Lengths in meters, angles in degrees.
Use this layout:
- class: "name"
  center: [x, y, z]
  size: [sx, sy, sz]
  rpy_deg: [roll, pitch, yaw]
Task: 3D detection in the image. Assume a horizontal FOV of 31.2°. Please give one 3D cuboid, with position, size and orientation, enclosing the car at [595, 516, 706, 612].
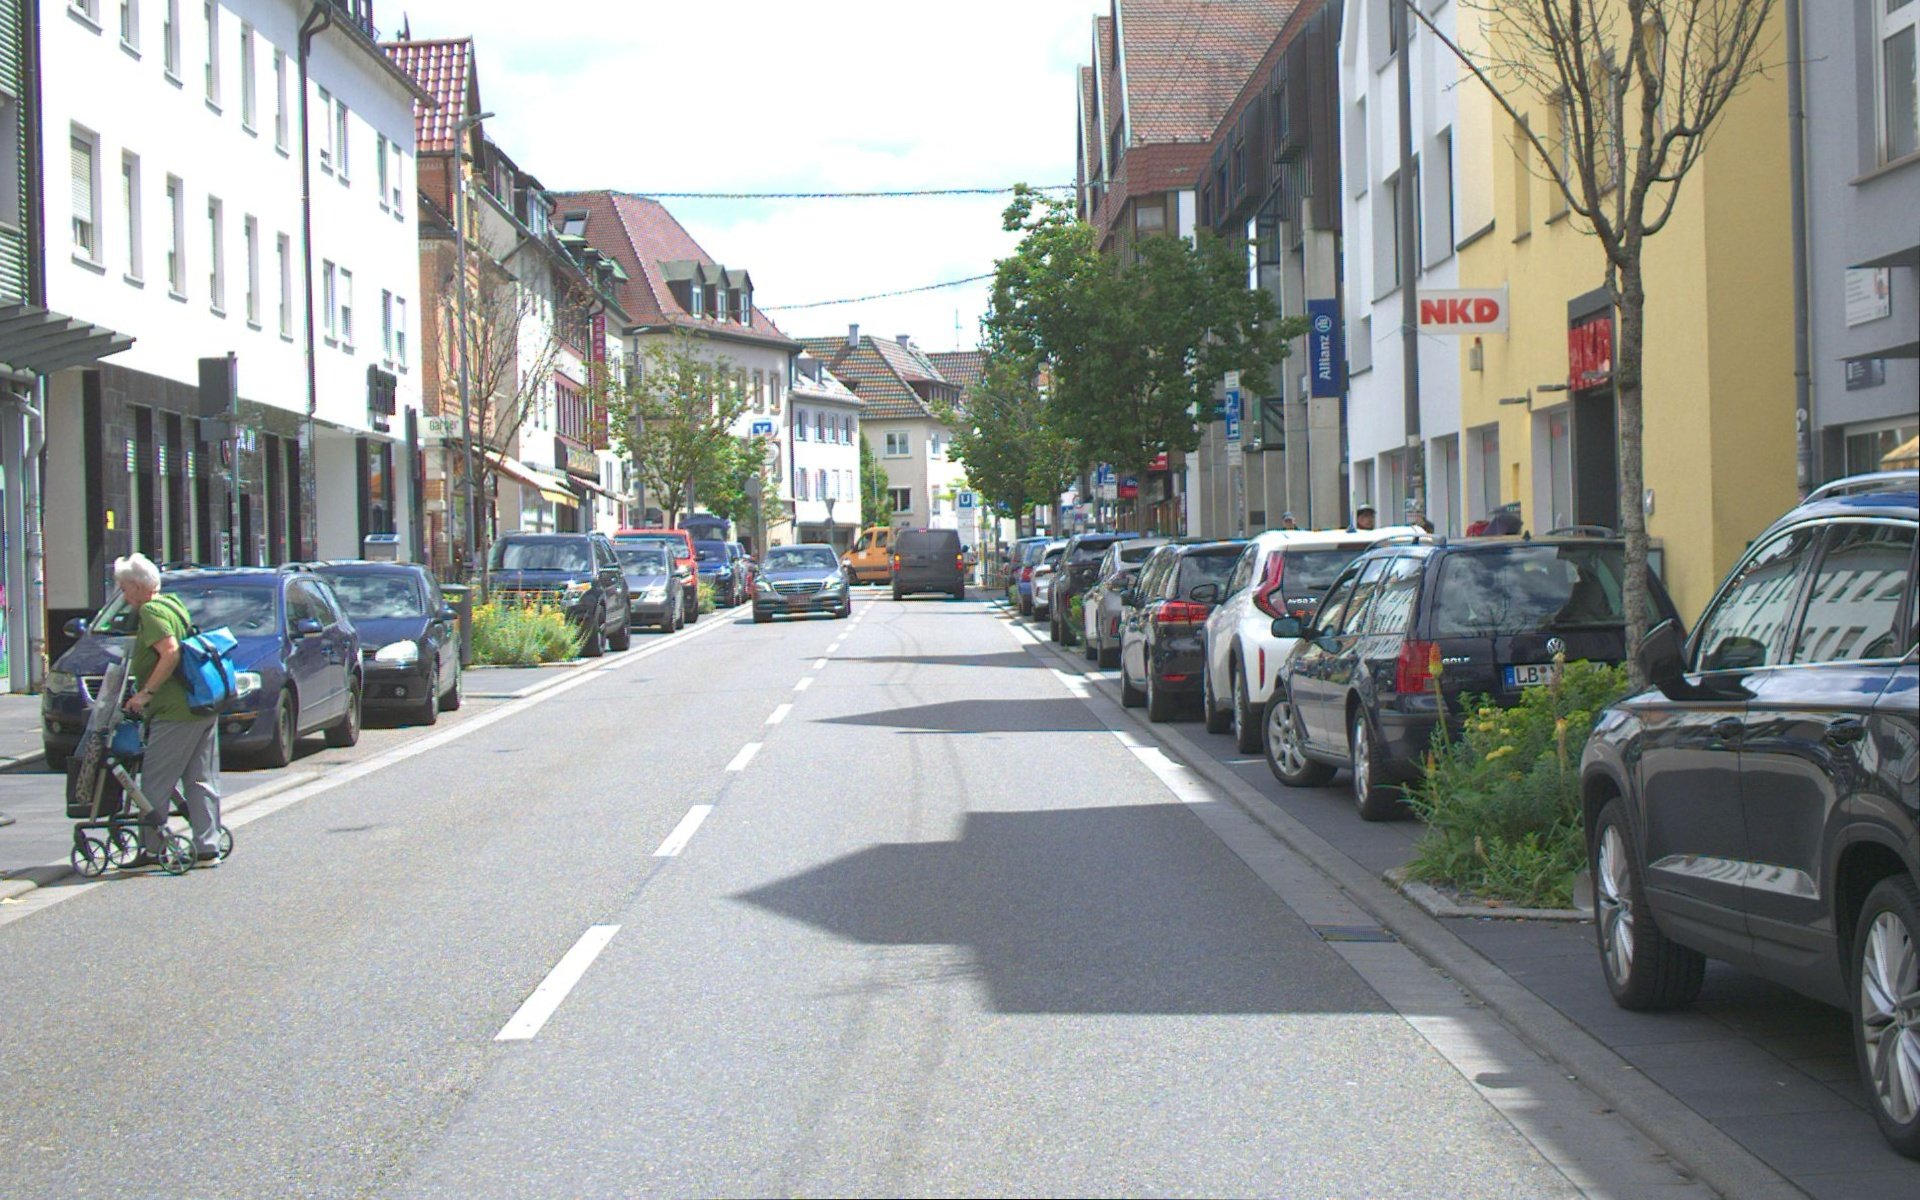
- class: "car"
  center: [-6.301, -0.723, 70.466]
  size: [1.816, 1.882, 4.841]
  rpy_deg: [0, 0, 0]

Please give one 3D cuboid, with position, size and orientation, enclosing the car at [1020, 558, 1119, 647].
- class: "car"
  center: [1.996, 0.031, 63.700]
  size: [1.721, 1.571, 4.428]
  rpy_deg: [1, 0, 1]

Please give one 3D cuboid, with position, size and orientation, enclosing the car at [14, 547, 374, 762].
- class: "car"
  center: [-5.829, 0.349, 26.718]
  size: [1.790, 1.507, 4.713]
  rpy_deg: [0, 1, -1]

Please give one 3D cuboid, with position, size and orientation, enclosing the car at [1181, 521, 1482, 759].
- class: "car"
  center: [2.594, 0.259, 24.762]
  size: [1.689, 1.568, 3.756]
  rpy_deg: [0, 0, -1]

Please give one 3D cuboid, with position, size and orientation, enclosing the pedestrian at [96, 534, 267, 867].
- class: "pedestrian"
  center: [-3.846, 0.489, 17.022]
  size: [0.731, 1.612, 0.651]
  rpy_deg: [0, 0, -5]

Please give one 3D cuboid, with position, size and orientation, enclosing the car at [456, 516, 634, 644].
- class: "car"
  center: [-5.907, -0.286, 49.398]
  size: [1.816, 1.749, 4.668]
  rpy_deg: [1, 0, 2]

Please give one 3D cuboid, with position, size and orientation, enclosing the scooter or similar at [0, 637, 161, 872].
- class: "scooter or similar"
  center: [-4.391, 0.752, 16.962]
  size: [0.781, 1.122, 0.630]
  rpy_deg: [0, 0, -5]

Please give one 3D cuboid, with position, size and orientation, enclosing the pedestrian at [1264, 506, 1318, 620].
- class: "pedestrian"
  center: [5.092, -0.567, 52.943]
  size: [0.741, 1.731, 0.757]
  rpy_deg: [0, 0, 0]

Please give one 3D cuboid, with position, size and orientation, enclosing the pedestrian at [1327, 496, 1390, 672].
- class: "pedestrian"
  center: [4.207, -0.171, 36.339]
  size: [0.588, 1.834, 0.576]
  rpy_deg: [0, 0, 0]

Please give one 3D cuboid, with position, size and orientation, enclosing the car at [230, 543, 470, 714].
- class: "car"
  center: [-5.700, 0.218, 32.547]
  size: [1.790, 1.498, 4.179]
  rpy_deg: [0, 1, -4]

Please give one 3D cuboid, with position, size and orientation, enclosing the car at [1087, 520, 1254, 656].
- class: "car"
  center: [2.389, -0.142, 39.905]
  size: [1.721, 1.471, 4.354]
  rpy_deg: [1, 0, 1]

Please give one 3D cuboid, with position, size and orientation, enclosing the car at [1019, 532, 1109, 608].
- class: "car"
  center: [2.066, -0.597, 69.360]
  size: [1.721, 1.488, 4.109]
  rpy_deg: [1, 0, 1]

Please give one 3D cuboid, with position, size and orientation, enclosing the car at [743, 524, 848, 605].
- class: "car"
  center: [-3.292, -0.704, 69.542]
  size: [1.905, 1.558, 4.646]
  rpy_deg: [0, 0, 0]

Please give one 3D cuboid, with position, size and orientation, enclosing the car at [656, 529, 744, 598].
- class: "car"
  center: [-6.250, -0.900, 82.915]
  size: [1.799, 1.592, 4.389]
  rpy_deg: [0, 1, 0]

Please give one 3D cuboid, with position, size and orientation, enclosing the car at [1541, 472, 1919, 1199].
- class: "car"
  center: [2.906, 0.444, 9.177]
  size: [1.799, 1.598, 4.204]
  rpy_deg: [-3, 1, -2]

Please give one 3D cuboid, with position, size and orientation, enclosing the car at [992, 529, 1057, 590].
- class: "car"
  center: [1.719, -1.109, 92.191]
  size: [1.609, 1.490, 3.795]
  rpy_deg: [-4, 1, 1]

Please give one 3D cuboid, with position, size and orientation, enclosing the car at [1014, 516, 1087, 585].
- class: "car"
  center: [2.079, -1.156, 80.022]
  size: [1.609, 1.527, 3.795]
  rpy_deg: [-2, 1, 1]

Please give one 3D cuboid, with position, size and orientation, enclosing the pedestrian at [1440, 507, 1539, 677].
- class: "pedestrian"
  center: [4.909, -0.075, 31.897]
  size: [0.749, 1.548, 0.726]
  rpy_deg: [-1, 0, -1]

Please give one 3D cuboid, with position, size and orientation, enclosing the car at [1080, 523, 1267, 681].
- class: "car"
  center: [2.096, 0.004, 34.808]
  size: [1.630, 1.471, 4.957]
  rpy_deg: [1, 0, 1]

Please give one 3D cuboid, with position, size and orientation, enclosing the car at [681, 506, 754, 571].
- class: "car"
  center: [-6.245, -1.588, 88.700]
  size: [1.799, 1.598, 4.352]
  rpy_deg: [-1, 1, -4]

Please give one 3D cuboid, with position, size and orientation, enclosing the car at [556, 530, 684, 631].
- class: "car"
  center: [-6.148, -0.358, 62.554]
  size: [1.816, 1.749, 4.464]
  rpy_deg: [1, 0, 1]

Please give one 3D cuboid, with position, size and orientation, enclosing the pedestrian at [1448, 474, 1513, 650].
- class: "pedestrian"
  center: [5.478, -0.395, 36.190]
  size: [0.588, 1.834, 0.576]
  rpy_deg: [0, 0, 0]

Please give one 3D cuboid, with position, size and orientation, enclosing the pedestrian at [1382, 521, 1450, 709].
- class: "pedestrian"
  center: [4.502, 0.147, 33.970]
  size: [0.588, 1.834, 0.576]
  rpy_deg: [0, 0, 0]

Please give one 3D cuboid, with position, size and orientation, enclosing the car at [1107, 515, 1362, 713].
- class: "car"
  center: [2.255, 0.052, 29.285]
  size: [1.689, 1.467, 4.524]
  rpy_deg: [1, 2, -1]

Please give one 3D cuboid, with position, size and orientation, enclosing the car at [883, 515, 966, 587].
- class: "car"
  center: [-0.977, -1.266, 90.867]
  size: [2.040, 1.842, 5.000]
  rpy_deg: [0, 0, -2]

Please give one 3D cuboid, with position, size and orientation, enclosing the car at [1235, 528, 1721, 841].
- class: "car"
  center: [2.712, 0.399, 18.974]
  size: [1.689, 1.435, 4.296]
  rpy_deg: [-3, 1, -4]

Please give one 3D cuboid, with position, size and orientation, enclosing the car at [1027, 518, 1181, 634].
- class: "car"
  center: [2.015, -0.335, 49.114]
  size: [1.721, 1.571, 4.110]
  rpy_deg: [0, 0, -4]
